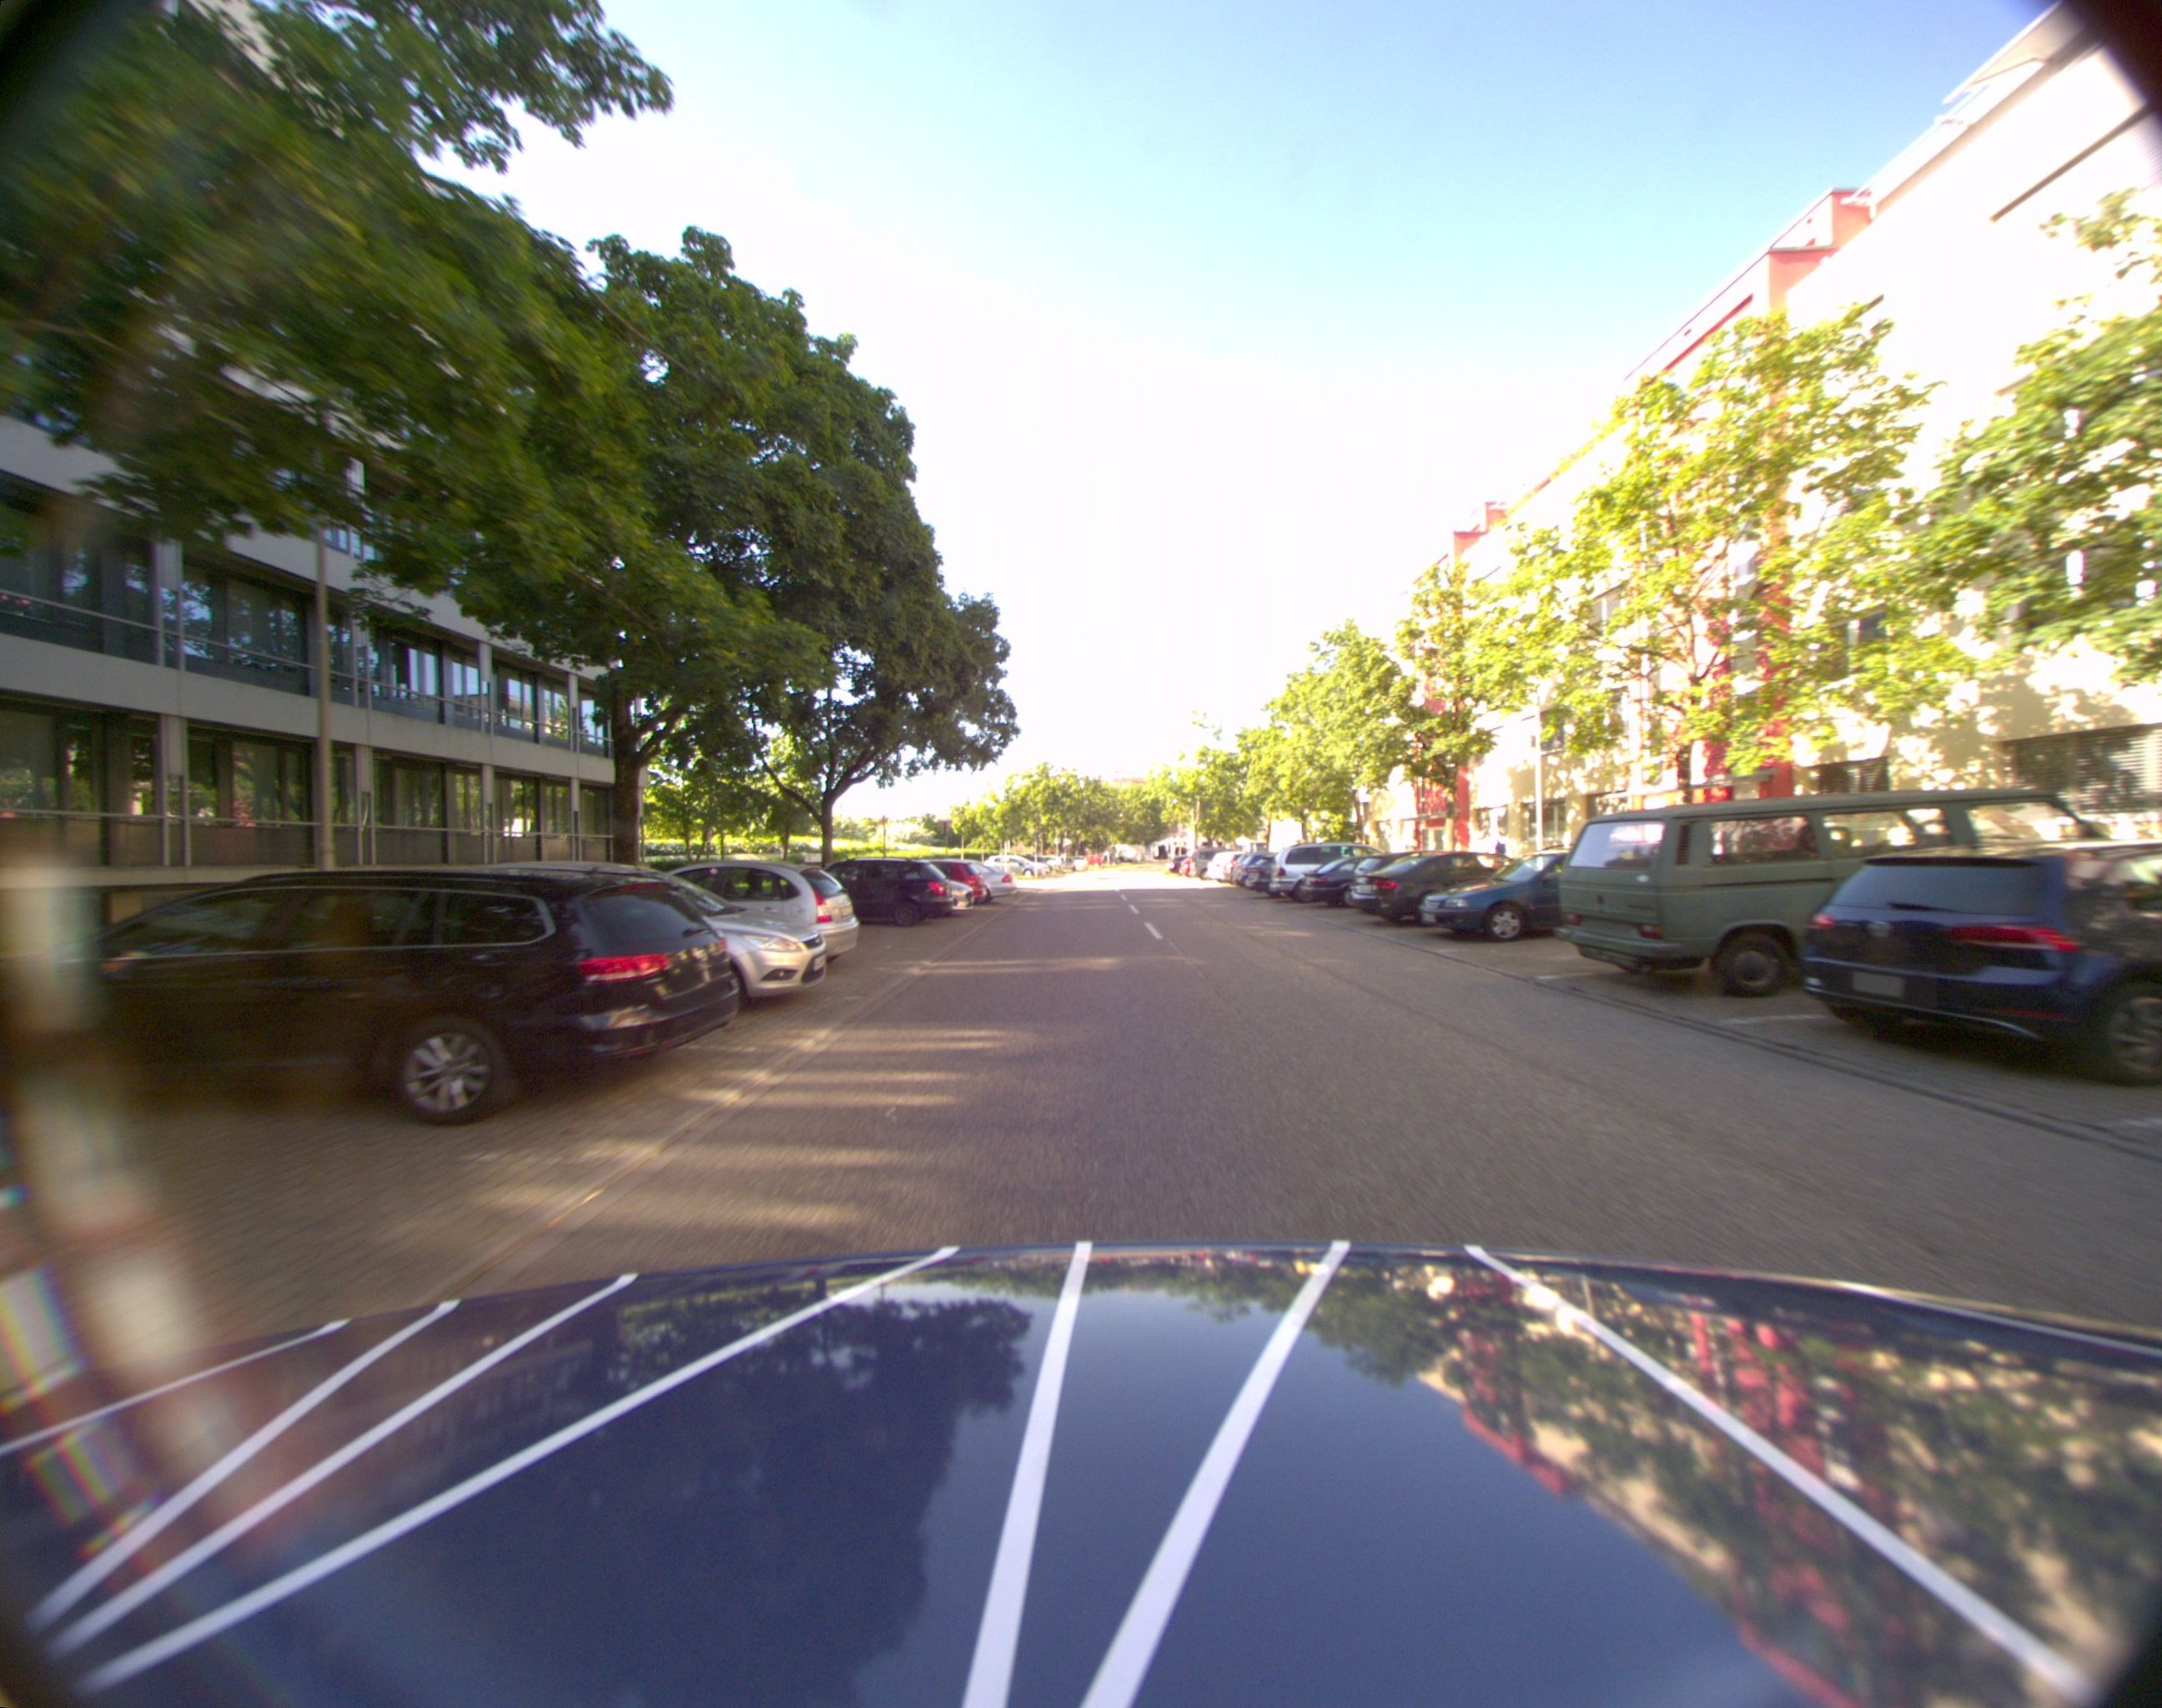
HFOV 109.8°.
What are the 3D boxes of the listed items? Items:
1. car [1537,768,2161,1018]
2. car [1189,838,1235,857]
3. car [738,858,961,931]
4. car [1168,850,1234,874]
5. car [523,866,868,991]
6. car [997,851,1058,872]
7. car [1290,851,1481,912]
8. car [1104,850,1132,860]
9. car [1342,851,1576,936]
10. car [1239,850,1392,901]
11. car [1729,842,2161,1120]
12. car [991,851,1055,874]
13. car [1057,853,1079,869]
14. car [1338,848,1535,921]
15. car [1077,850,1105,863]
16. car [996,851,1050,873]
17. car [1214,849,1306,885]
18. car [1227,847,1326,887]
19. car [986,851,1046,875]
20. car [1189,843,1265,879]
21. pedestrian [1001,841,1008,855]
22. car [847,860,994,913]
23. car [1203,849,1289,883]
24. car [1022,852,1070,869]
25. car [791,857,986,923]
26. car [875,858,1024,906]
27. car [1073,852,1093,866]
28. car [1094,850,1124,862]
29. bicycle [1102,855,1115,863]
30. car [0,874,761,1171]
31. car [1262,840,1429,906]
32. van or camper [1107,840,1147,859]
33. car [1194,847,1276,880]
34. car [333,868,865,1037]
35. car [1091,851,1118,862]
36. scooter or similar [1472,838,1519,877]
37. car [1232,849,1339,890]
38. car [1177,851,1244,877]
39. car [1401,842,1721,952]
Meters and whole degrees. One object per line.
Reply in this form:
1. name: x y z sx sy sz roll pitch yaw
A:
1. car: 7.672 0.365 7.927 4.498 2.077 2.083 -3 0 3
2. car: 14.625 -0.707 84.824 4.776 1.973 1.997 -2 0 -22
3. car: -5.134 0.892 17.373 4.528 1.533 1.921 1 1 -3
4. car: 8.243 0.561 52.450 4.272 1.415 1.740 -3 0 5
5. car: -4.926 0.932 10.126 3.754 1.484 1.616 1 1 -4
6. car: -4.226 0.582 60.644 4.560 1.506 2.158 1 1 1
7. car: 8.009 0.702 20.250 4.332 1.350 1.757 -3 0 0
8. car: 5.851 0.153 120.071 4.155 1.537 1.860 2 1 11
9. car: 7.369 0.733 15.074 3.735 1.419 1.725 -3 0 1
10. car: 7.591 0.681 24.910 4.414 1.419 1.772 -3 0 -1
11. car: 7.514 0.695 5.231 4.330 1.469 1.943 -3 0 3
12. car: -4.233 0.624 55.527 4.563 1.506 1.981 1 1 -5
13. car: -1.283 0.676 78.406 1.813 1.485 4.625 2 1 4
14. car: 8.154 0.671 17.656 3.735 1.419 1.725 -3 0 0
15. car: 1.309 0.275 100.436 3.438 1.535 1.629 2 1 14
16. car: -4.396 0.599 58.095 3.885 1.506 1.750 1 1 1
17. car: 8.271 0.592 35.307 3.736 1.438 1.859 -3 0 -3
18. car: 8.350 0.563 32.745 3.735 1.500 1.859 -3 0 0
19. car: -4.504 0.635 52.921 3.957 1.506 1.701 1 1 2
20. car: 8.188 0.379 42.820 3.901 1.801 1.786 -3 0 1
21. pedestrian: -8.510 -0.695 84.259 0.608 1.533 0.937 0 1 7
22. car: -4.647 0.915 22.384 3.846 1.438 1.922 1 1 5
23. car: 8.135 0.575 37.673 3.736 1.438 1.875 -3 0 -3
24. car: -3.254 0.607 71.000 4.096 1.421 1.643 3 1 8
25. car: -4.896 0.887 19.702 4.524 1.533 1.922 1 1 5
26. car: -4.253 0.902 25.072 4.589 1.467 1.747 -1 0 1
27. car: 0.254 0.600 86.303 1.646 1.485 3.768 2 1 8
28. car: 4.146 0.280 112.535 4.199 1.537 1.861 2 1 14
29. bicycle: 3.732 0.648 102.841 1.752 0.985 0.531 1 1 25
30. car: -4.795 0.949 4.991 4.603 1.484 1.762 1 1 -2
31. car: 7.755 0.542 22.658 4.330 1.707 1.963 -3 0 6
32. van or camper: 7.432 -0.756 122.753 5.990 2.967 2.673 2 1 12
33. car: 8.126 0.484 40.357 3.901 1.565 1.859 -3 0 1
34. car: -4.706 0.935 7.998 4.297 1.484 2.003 1 1 -1
35. car: 3.429 0.323 109.938 3.466 1.471 1.861 2 1 16
36. scooter or similar: 15.784 0.122 28.983 0.656 1.438 2.109 0 0 1
37. car: 8.130 0.604 30.485 3.735 1.419 1.841 -3 0 0
38. car: 8.091 0.594 47.698 3.901 1.415 1.739 -3 0 1
39. car: 7.771 0.665 12.591 4.142 1.519 1.725 -3 0 1
